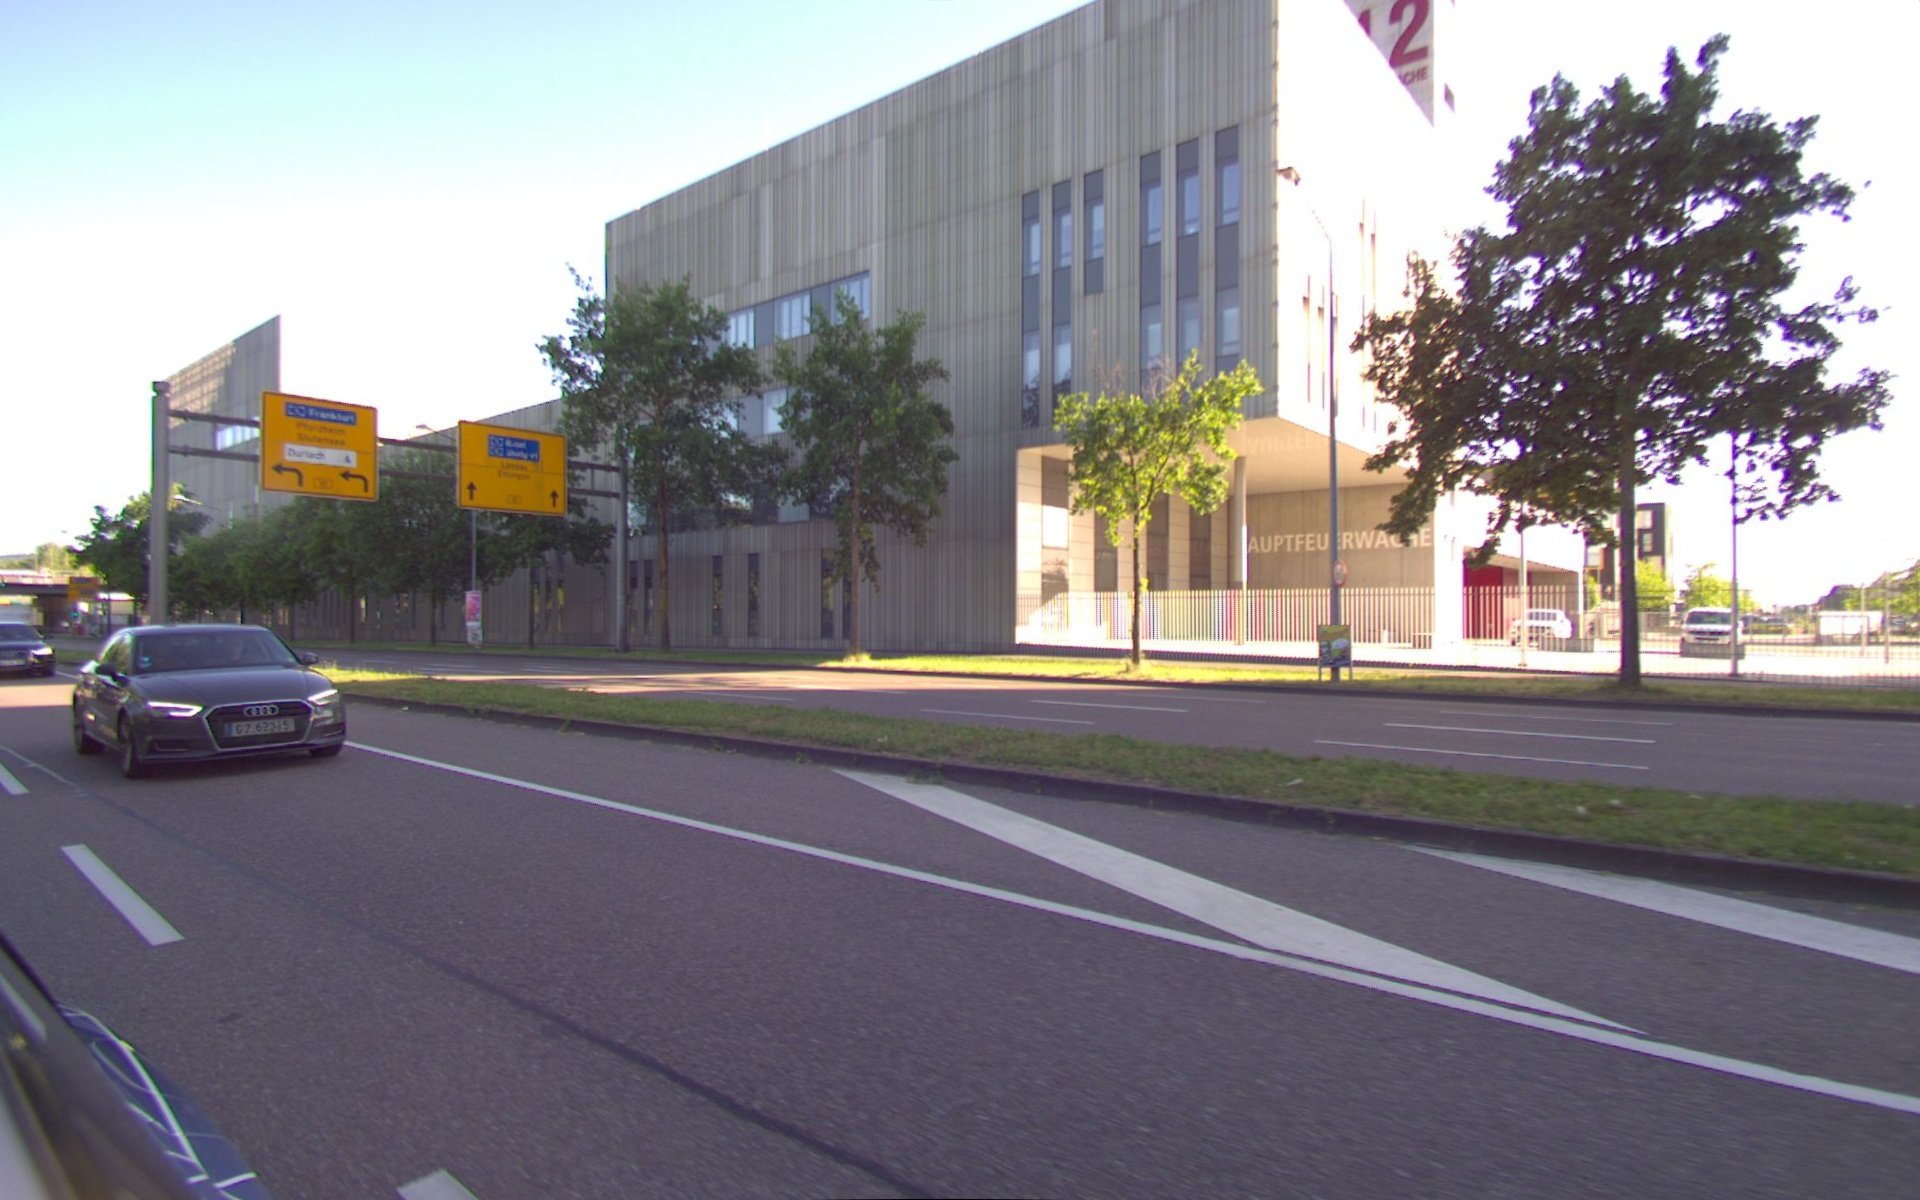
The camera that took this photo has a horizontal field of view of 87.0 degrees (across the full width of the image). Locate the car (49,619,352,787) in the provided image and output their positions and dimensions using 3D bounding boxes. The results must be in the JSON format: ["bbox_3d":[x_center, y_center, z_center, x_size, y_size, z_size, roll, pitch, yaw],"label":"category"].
[{"bbox_3d":[-8.188,0.924,10.749,4.362,1.415,1.680,-1,-1,41],"label":"car"}]

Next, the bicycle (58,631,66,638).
[{"bbox_3d":[-113.563,4.375,128.010,1.752,0.897,0.507,-2,-2,39],"label":"bicycle"}]

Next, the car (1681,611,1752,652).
[{"bbox_3d":[29.729,1.188,39.722,1.934,1.514,4.342,-1,-1,41],"label":"car"}]

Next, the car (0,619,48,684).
[{"bbox_3d":[-24.877,1.301,25.915,3.942,1.549,1.681,-1,0,39],"label":"car"}]

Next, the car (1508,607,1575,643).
[{"bbox_3d":[25.199,1.061,43.800,1.761,1.464,4.212,-1,-1,41],"label":"car"}]

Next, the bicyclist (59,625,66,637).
[{"bbox_3d":[-113.543,3.939,127.998,0.752,1.453,0.502,-2,-2,39],"label":"bicyclist"}]

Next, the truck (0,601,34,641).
[{"bbox_3d":[-74.512,1.659,78.748,7.109,2.983,2.658,-1,-3,40],"label":"truck"}]
